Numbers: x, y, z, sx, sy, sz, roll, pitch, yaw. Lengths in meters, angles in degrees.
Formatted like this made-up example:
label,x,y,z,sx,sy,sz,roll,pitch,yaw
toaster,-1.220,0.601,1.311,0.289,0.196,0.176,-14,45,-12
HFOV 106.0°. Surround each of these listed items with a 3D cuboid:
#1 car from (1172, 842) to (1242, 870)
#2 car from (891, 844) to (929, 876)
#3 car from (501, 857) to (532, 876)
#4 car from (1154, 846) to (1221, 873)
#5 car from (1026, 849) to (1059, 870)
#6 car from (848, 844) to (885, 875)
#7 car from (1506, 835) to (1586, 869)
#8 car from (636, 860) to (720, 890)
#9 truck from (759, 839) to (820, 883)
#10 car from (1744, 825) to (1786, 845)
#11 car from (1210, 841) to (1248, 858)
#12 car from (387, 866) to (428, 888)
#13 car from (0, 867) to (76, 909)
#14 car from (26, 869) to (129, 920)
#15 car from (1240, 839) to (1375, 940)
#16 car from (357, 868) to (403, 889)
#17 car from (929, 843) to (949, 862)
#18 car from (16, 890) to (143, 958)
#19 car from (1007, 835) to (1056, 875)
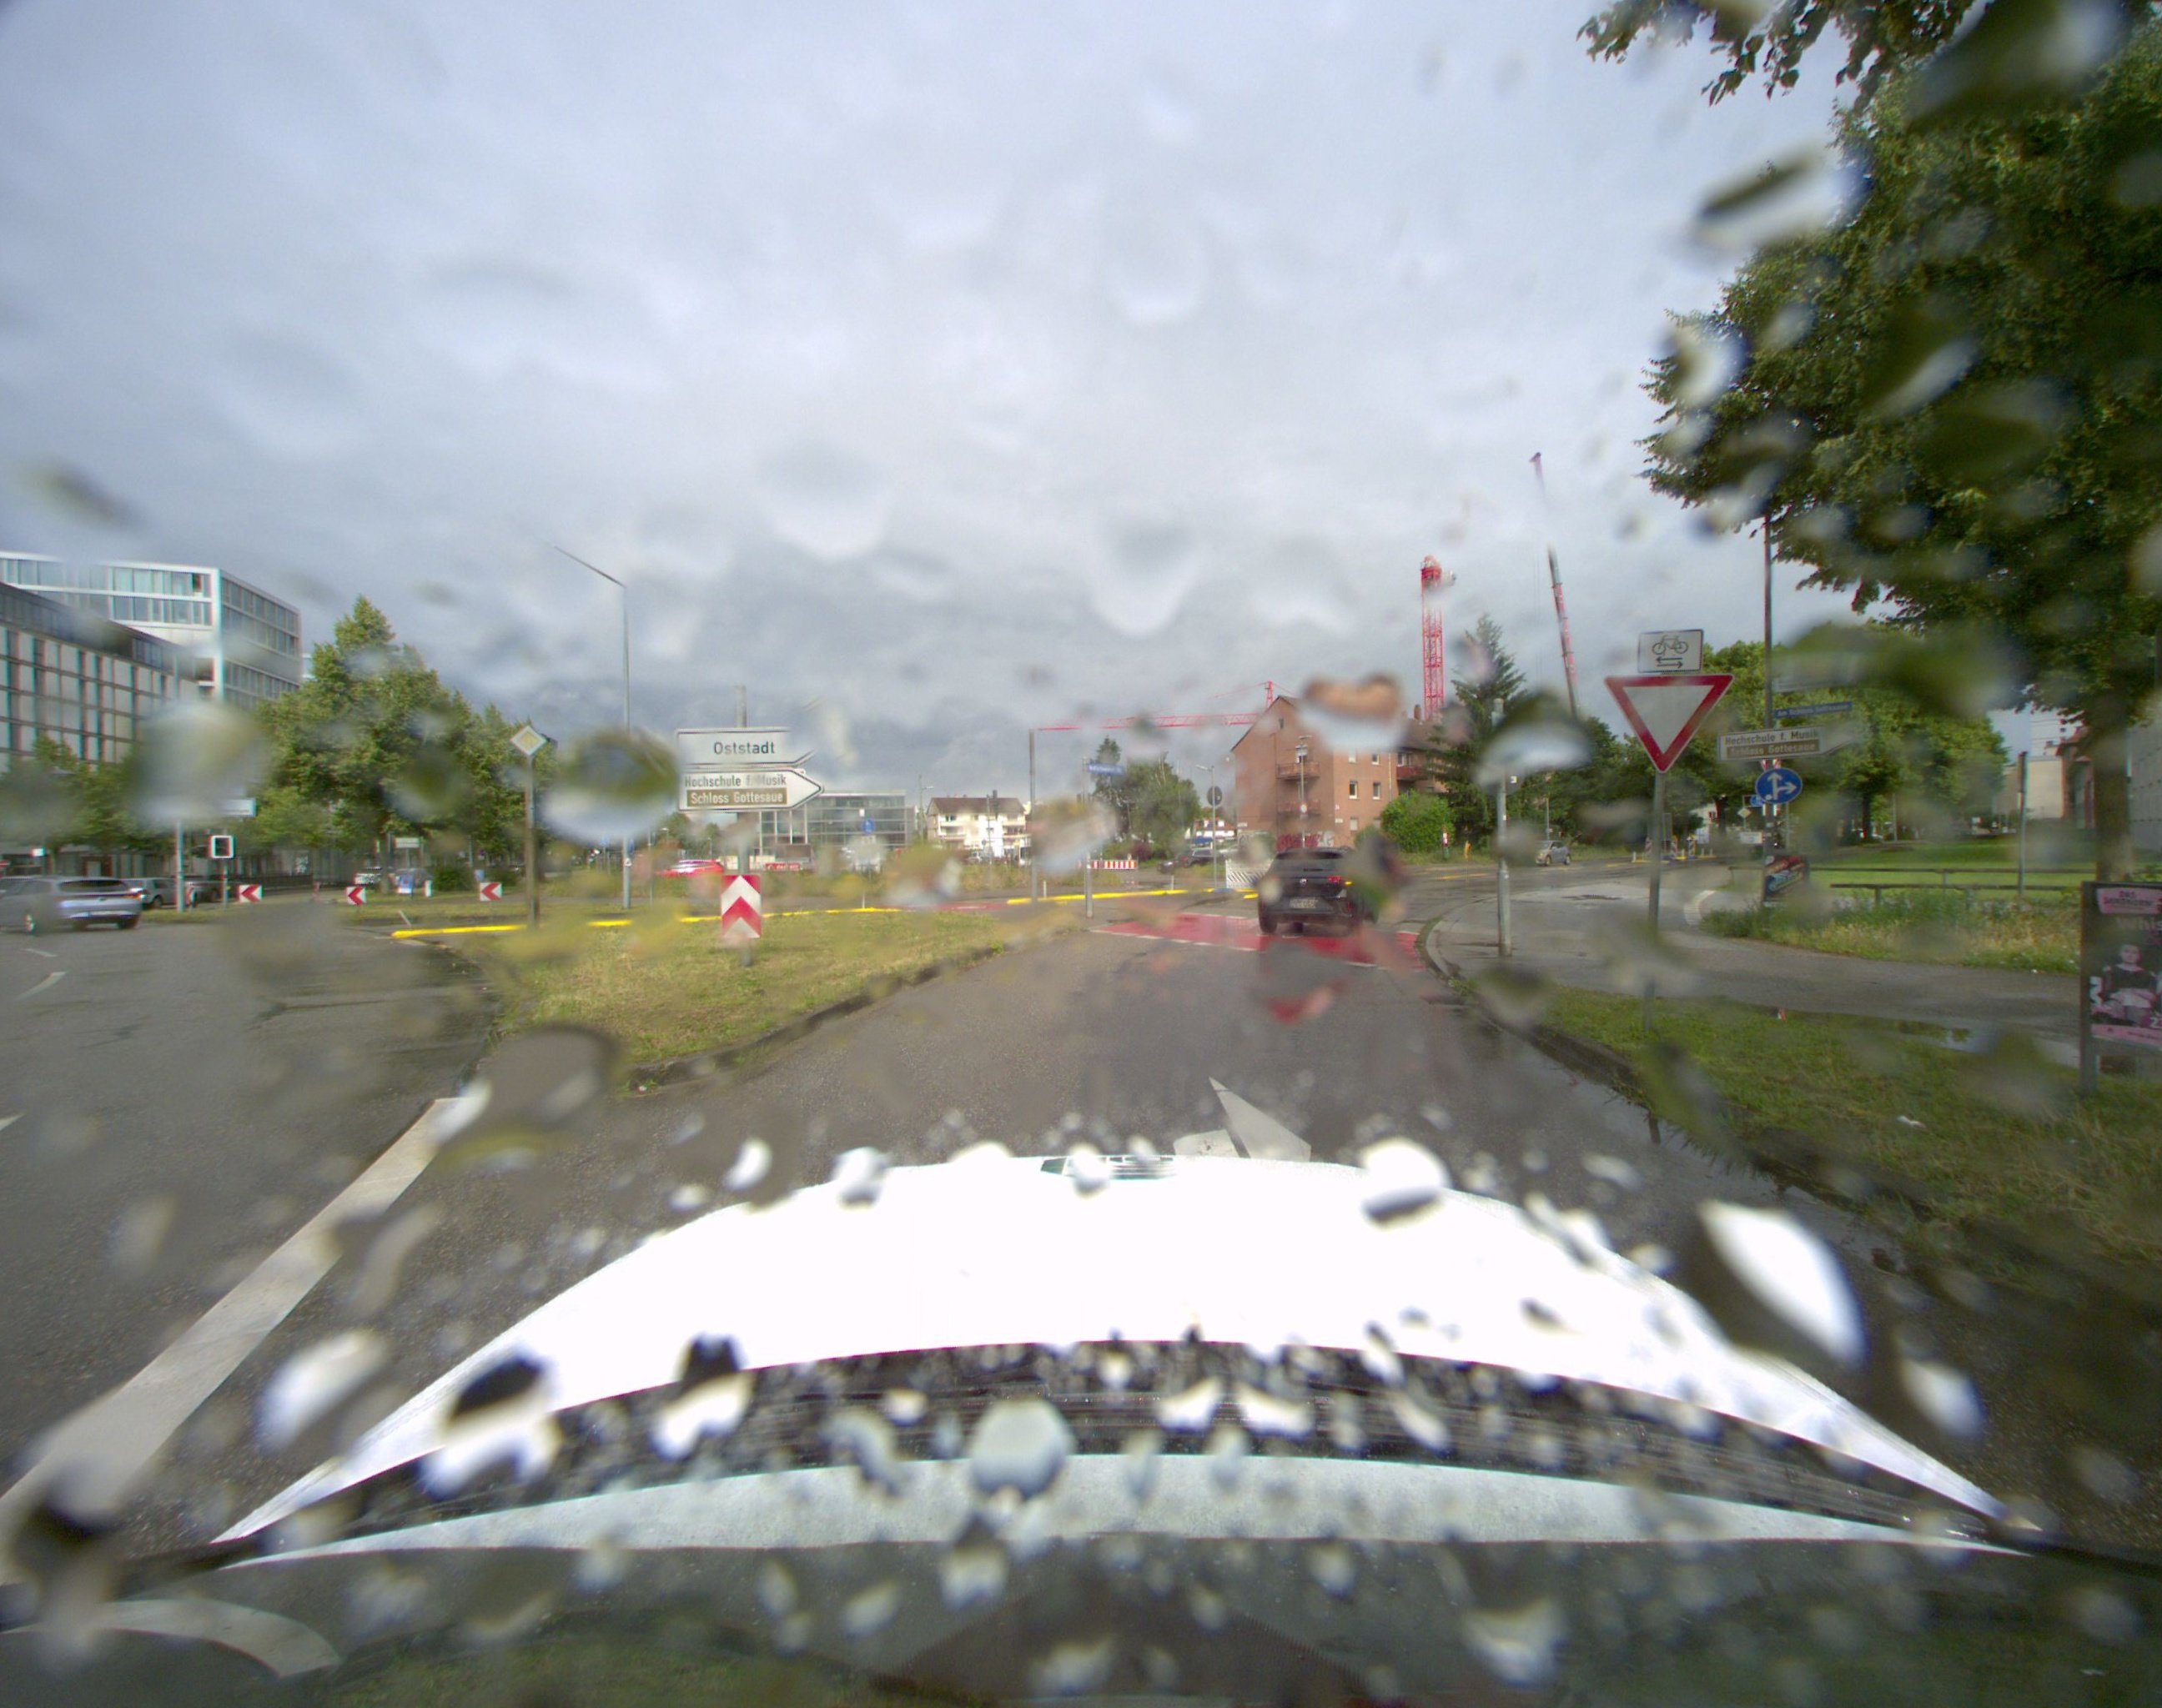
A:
label,x,y,z,sx,sy,sz,roll,pitch,yaw
car,7.859,0.104,50.934,4.043,1.632,1.612,-1,0,-8
car,-10.317,0.339,48.943,1.928,1.699,3.979,-1,2,-16
car,-65.198,1.436,94.139,2.000,2.013,3.973,-1,0,-20
car,6.963,0.350,53.456,4.043,1.632,1.612,-1,0,-8
car,-4.119,0.569,86.535,2.005,2.123,3.964,-2,0,-28
car,-13.400,0.305,50.783,1.858,1.699,3.973,-1,3,-20
car,26.344,-0.167,46.124,4.717,1.731,2.060,-2,3,-34
car,-23.216,1.178,47.049,4.200,1.510,1.842,-2,3,-26
truck,-16.777,0.306,47.206,2.391,2.211,6.078,-1,2,-11
car,61.391,-1.741,73.066,4.723,1.731,2.058,-3,3,-40
car,14.671,-0.462,80.653,3.484,1.519,1.623,-1,0,15
car,-50.055,1.703,60.568,1.502,1.510,3.472,0,0,-24
car,-43.556,1.377,33.638,1.556,1.560,3.463,-2,1,-34
car,-35.506,1.381,28.909,1.558,1.560,3.460,-2,1,-38
car,4.423,0.559,15.475,1.880,1.617,4.023,-1,1,24
car,-53.280,1.877,61.956,1.500,1.510,3.477,0,-1,-20
car,-17.673,-0.184,101.356,2.374,2.084,4.953,-1,2,-11
car,-26.688,1.793,21.691,3.504,1.560,1.610,-1,1,31
car,-3.002,-0.039,48.000,2.037,2.084,6.244,-1,2,-11
